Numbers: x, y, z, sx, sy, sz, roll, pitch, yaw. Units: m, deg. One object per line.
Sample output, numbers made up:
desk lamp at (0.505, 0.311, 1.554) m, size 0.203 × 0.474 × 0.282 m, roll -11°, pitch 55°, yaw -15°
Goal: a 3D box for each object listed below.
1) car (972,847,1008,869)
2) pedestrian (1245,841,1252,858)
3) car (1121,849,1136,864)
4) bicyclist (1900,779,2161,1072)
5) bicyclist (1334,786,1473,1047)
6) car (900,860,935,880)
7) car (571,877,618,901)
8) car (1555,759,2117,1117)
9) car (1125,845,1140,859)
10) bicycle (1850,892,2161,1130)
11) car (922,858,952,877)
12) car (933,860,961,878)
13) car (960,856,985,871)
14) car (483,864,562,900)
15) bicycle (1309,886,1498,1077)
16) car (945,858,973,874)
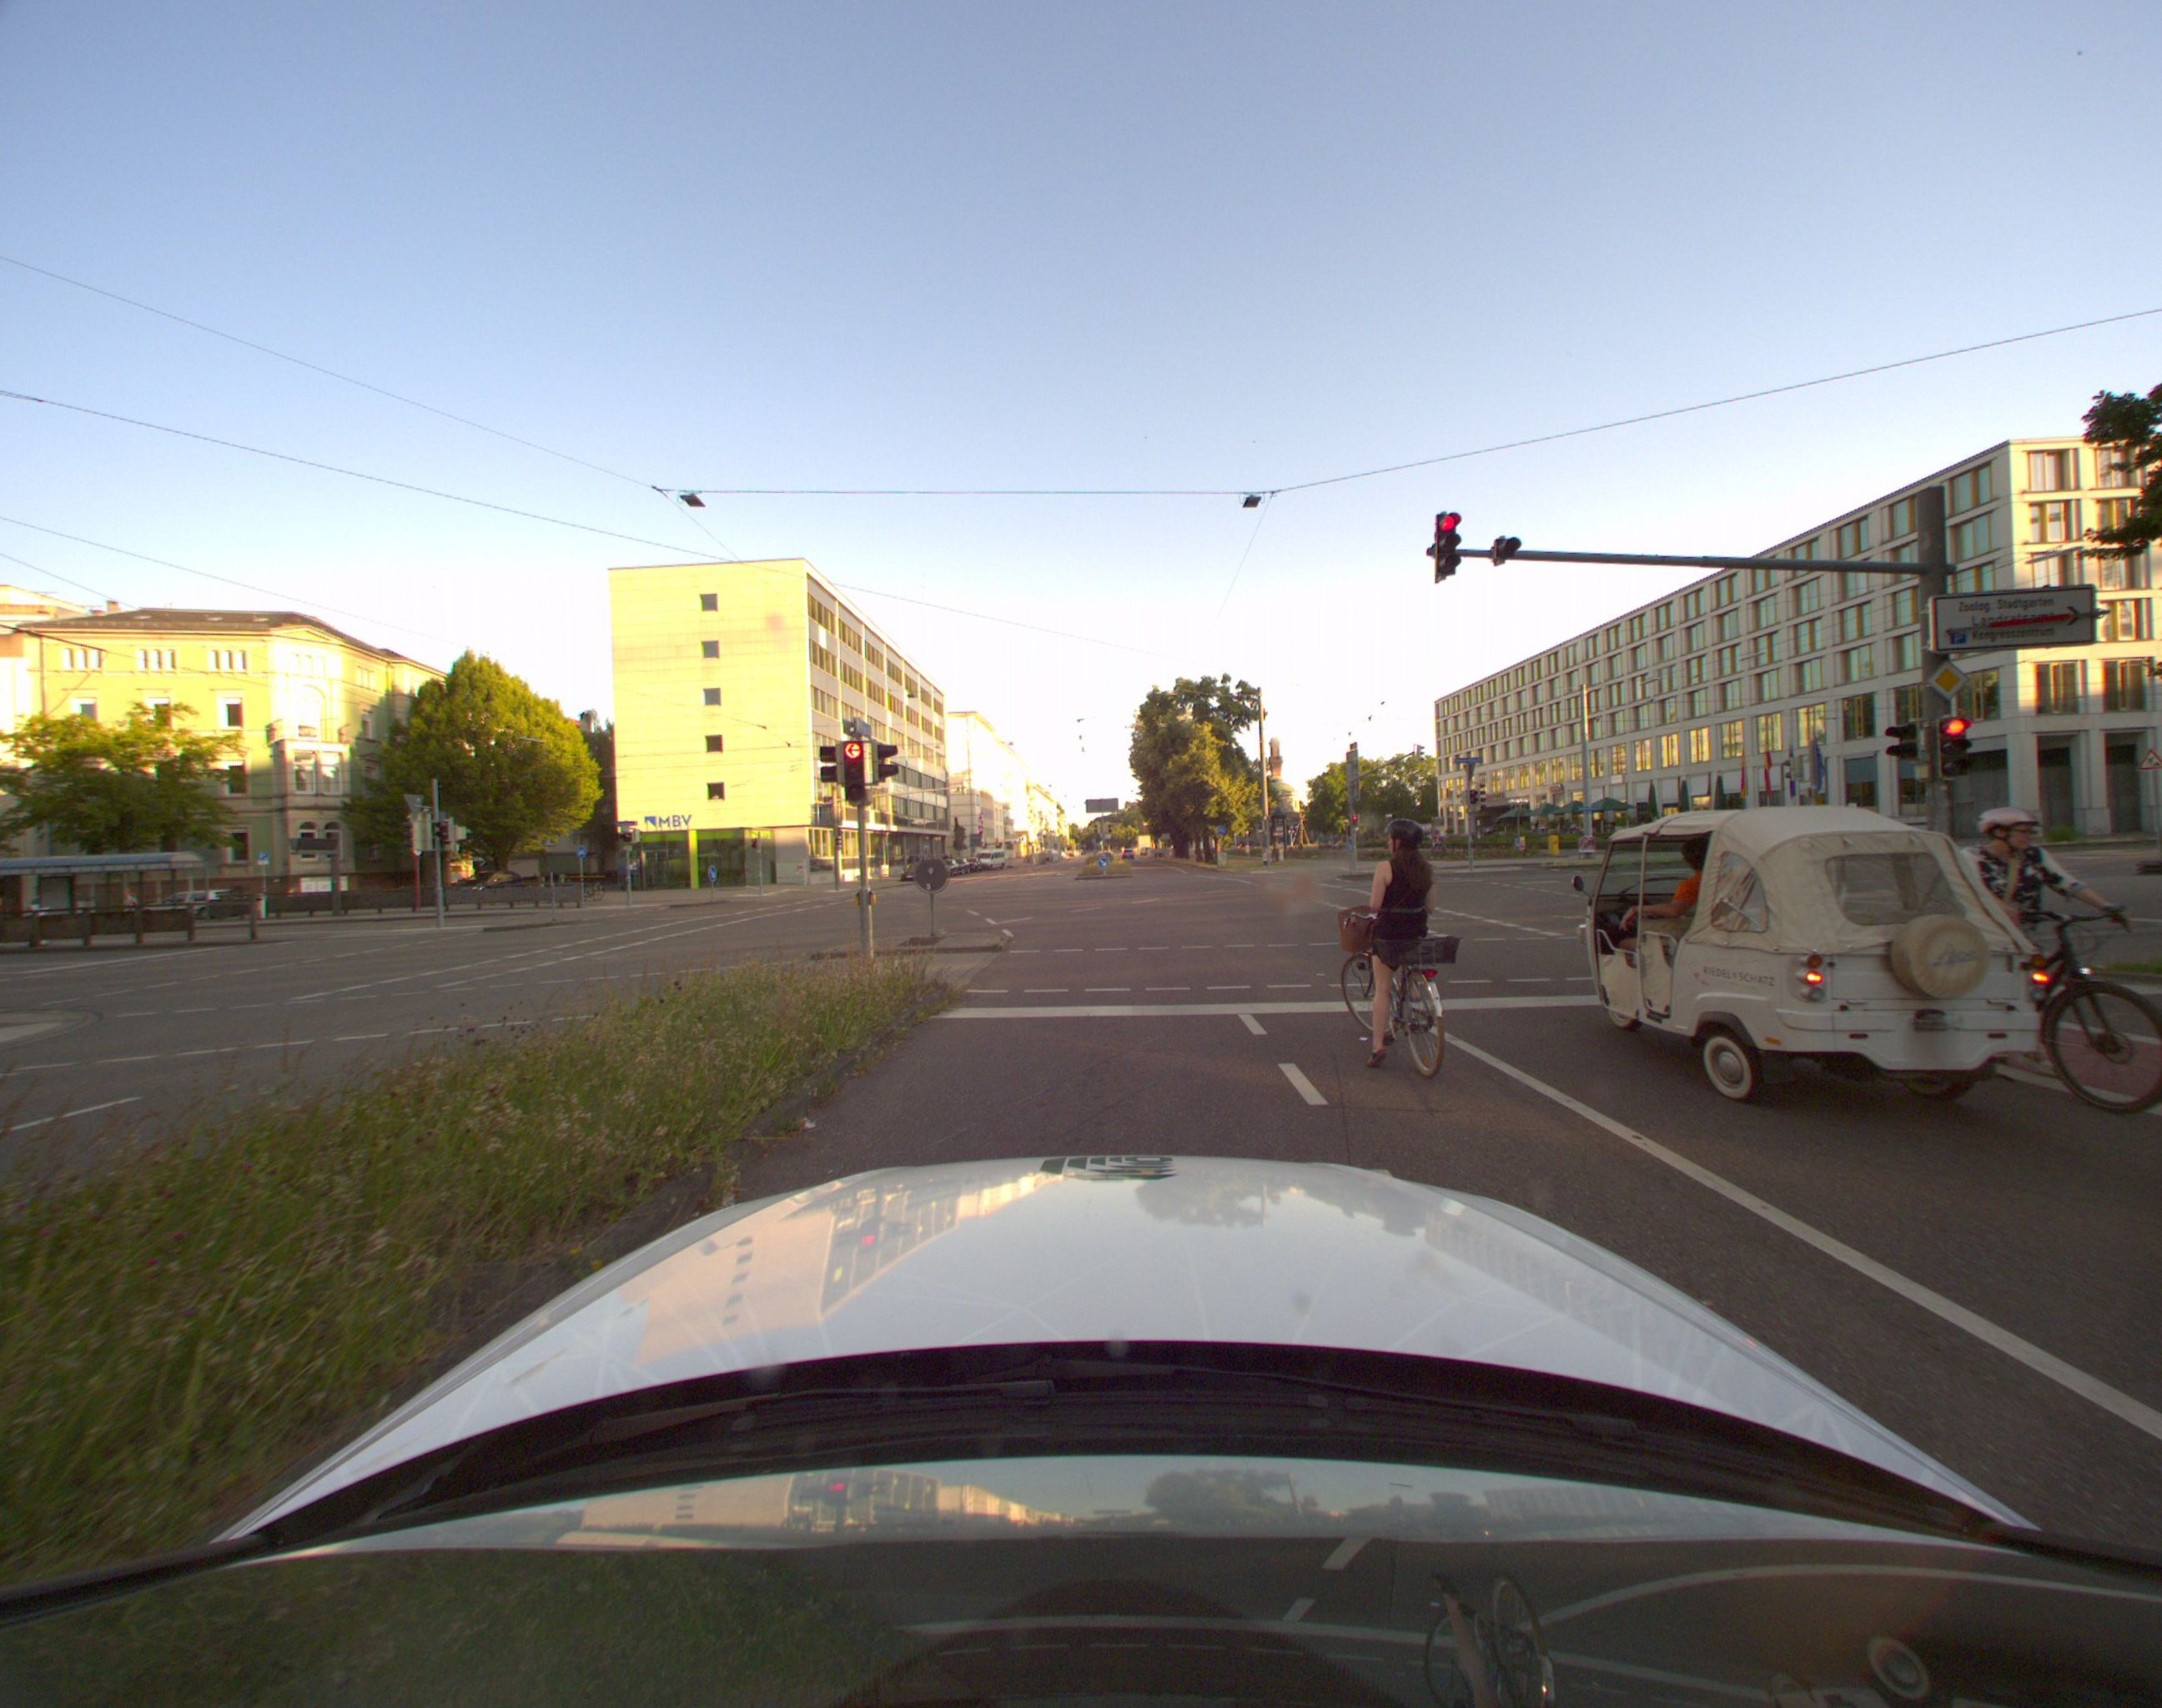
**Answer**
car at (-10.610, 0.518, 95.233) m, size 2.161 × 2.385 × 6.011 m, roll -3°, pitch -2°, yaw 14°
pedestrian at (17.184, -0.467, 83.562) m, size 0.506 × 1.668 × 0.531 m, roll -3°, pitch 0°, yaw 1°
car at (7.180, 0.356, 122.577) m, size 1.986 × 2.013 × 4.001 m, roll -3°, pitch 0°, yaw 1°
bicyclist at (5.914, 0.427, 5.134) m, size 0.708 × 1.693 × 0.751 m, roll -3°, pitch 0°, yaw 11°
bicyclist at (2.239, 0.409, 5.737) m, size 0.626 × 1.693 × 0.749 m, roll -3°, pitch 0°, yaw 1°
car at (-13.129, 1.295, 65.589) m, size 1.789 × 1.475 × 4.001 m, roll -3°, pitch -2°, yaw 1°
car at (-25.505, 1.825, 42.742) m, size 0.850 × 1.073 × 2.523 m, roll -3°, pitch 0°, yaw 2°
car at (4.565, 0.406, 5.410) m, size 1.453 × 1.780 × 2.568 m, roll -2°, pitch 1°, yaw 4°
car at (7.771, -0.348, 122.152) m, size 1.986 × 2.013 × 4.001 m, roll -3°, pitch 0°, yaw 1°
bicycle at (5.888, 0.823, 4.981) m, size 0.724 × 1.069 × 2.028 m, roll -1°, pitch 0°, yaw 10°
car at (-12.655, 1.225, 71.623) m, size 1.789 × 1.475 × 4.001 m, roll -3°, pitch -2°, yaw 1°
car at (-12.563, 1.415, 76.540) m, size 1.789 × 1.475 × 4.001 m, roll -3°, pitch -2°, yaw 1°
car at (-11.740, 1.090, 88.663) m, size 1.787 × 1.475 × 4.005 m, roll -3°, pitch -2°, yaw 5°
car at (-34.605, 1.704, 50.608) m, size 1.986 × 2.013 × 4.001 m, roll -3°, pitch 0°, yaw 1°
bicycle at (2.277, 0.829, 6.051) m, size 0.635 × 1.069 × 2.070 m, roll -1°, pitch 0°, yaw 2°
car at (-12.314, 1.271, 82.272) m, size 1.787 × 1.475 × 4.006 m, roll -3°, pitch -2°, yaw 6°
